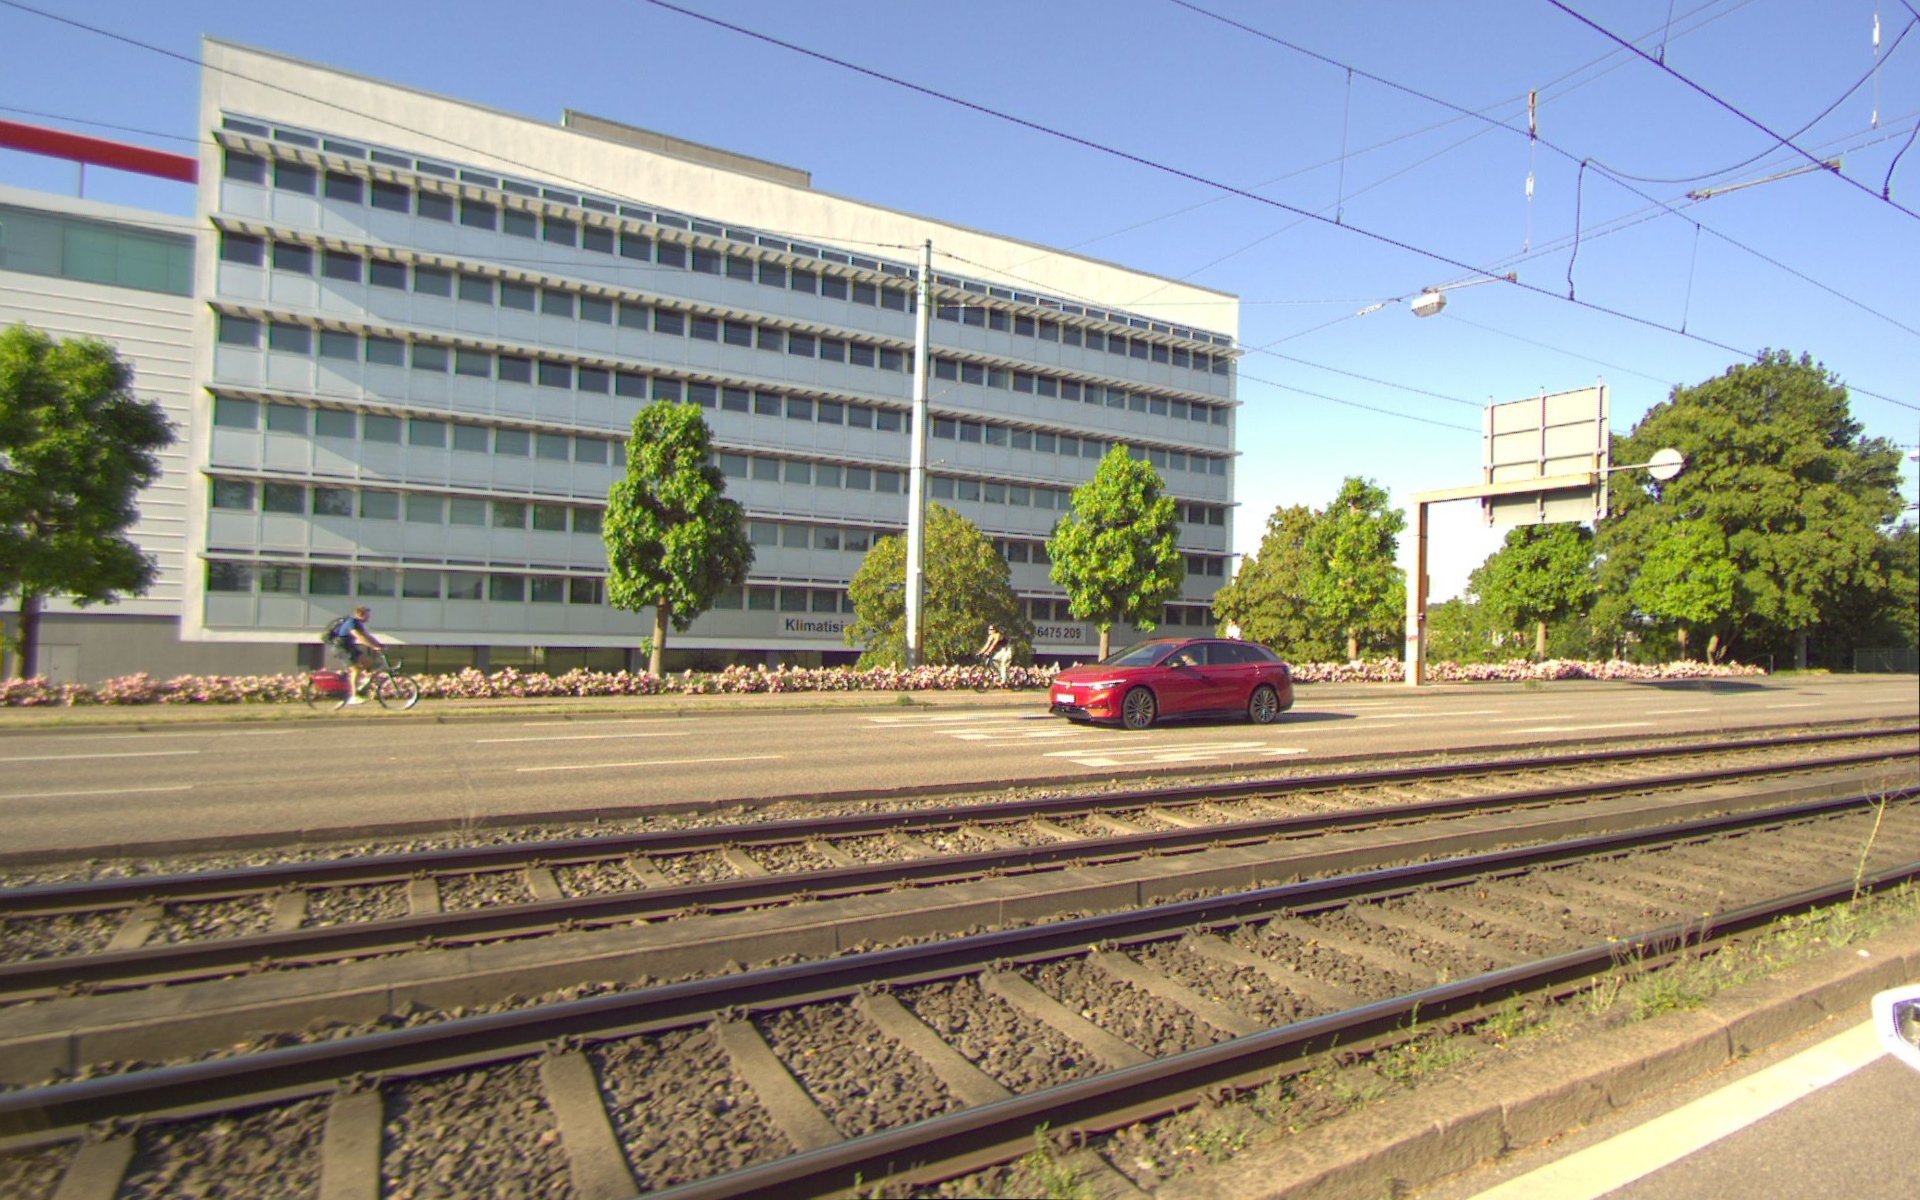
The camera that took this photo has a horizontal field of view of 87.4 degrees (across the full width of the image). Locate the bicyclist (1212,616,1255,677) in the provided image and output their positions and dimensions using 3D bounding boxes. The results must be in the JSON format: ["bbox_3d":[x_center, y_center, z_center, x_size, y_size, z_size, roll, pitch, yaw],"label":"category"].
[{"bbox_3d":[7.768,1.310,28.533,0.949,1.681,0.601,1,1,-24],"label":"bicyclist"}]

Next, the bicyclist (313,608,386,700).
[{"bbox_3d":[-10.536,0.920,17.357,0.957,1.532,0.703,1,1,-24],"label":"bicyclist"}]

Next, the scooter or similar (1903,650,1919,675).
[{"bbox_3d":[50.414,3.302,53.062,1.245,1.313,0.470,2,-1,-24],"label":"scooter or similar"}]

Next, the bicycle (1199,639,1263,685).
[{"bbox_3d":[7.701,1.743,28.522,1.724,1.235,0.601,1,1,-24],"label":"bicycle"}]

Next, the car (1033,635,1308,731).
[{"bbox_3d":[3.901,1.434,18.343,4.831,1.523,2.030,2,-1,-31],"label":"car"}]

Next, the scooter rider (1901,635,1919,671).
[{"bbox_3d":[50.424,2.805,53.060,0.986,1.873,0.680,1,-1,-23],"label":"scooter rider"}]

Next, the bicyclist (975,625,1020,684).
[{"bbox_3d":[0.933,1.343,24.832,0.870,1.392,0.621,1,2,-31],"label":"bicyclist"}]

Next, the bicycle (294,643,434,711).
[{"bbox_3d":[-10.316,1.315,17.468,1.999,1.088,0.703,1,1,-24],"label":"bicycle"}]

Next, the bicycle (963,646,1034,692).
[{"bbox_3d":[0.955,1.694,24.857,1.684,1.073,0.621,1,1,-31],"label":"bicycle"}]
